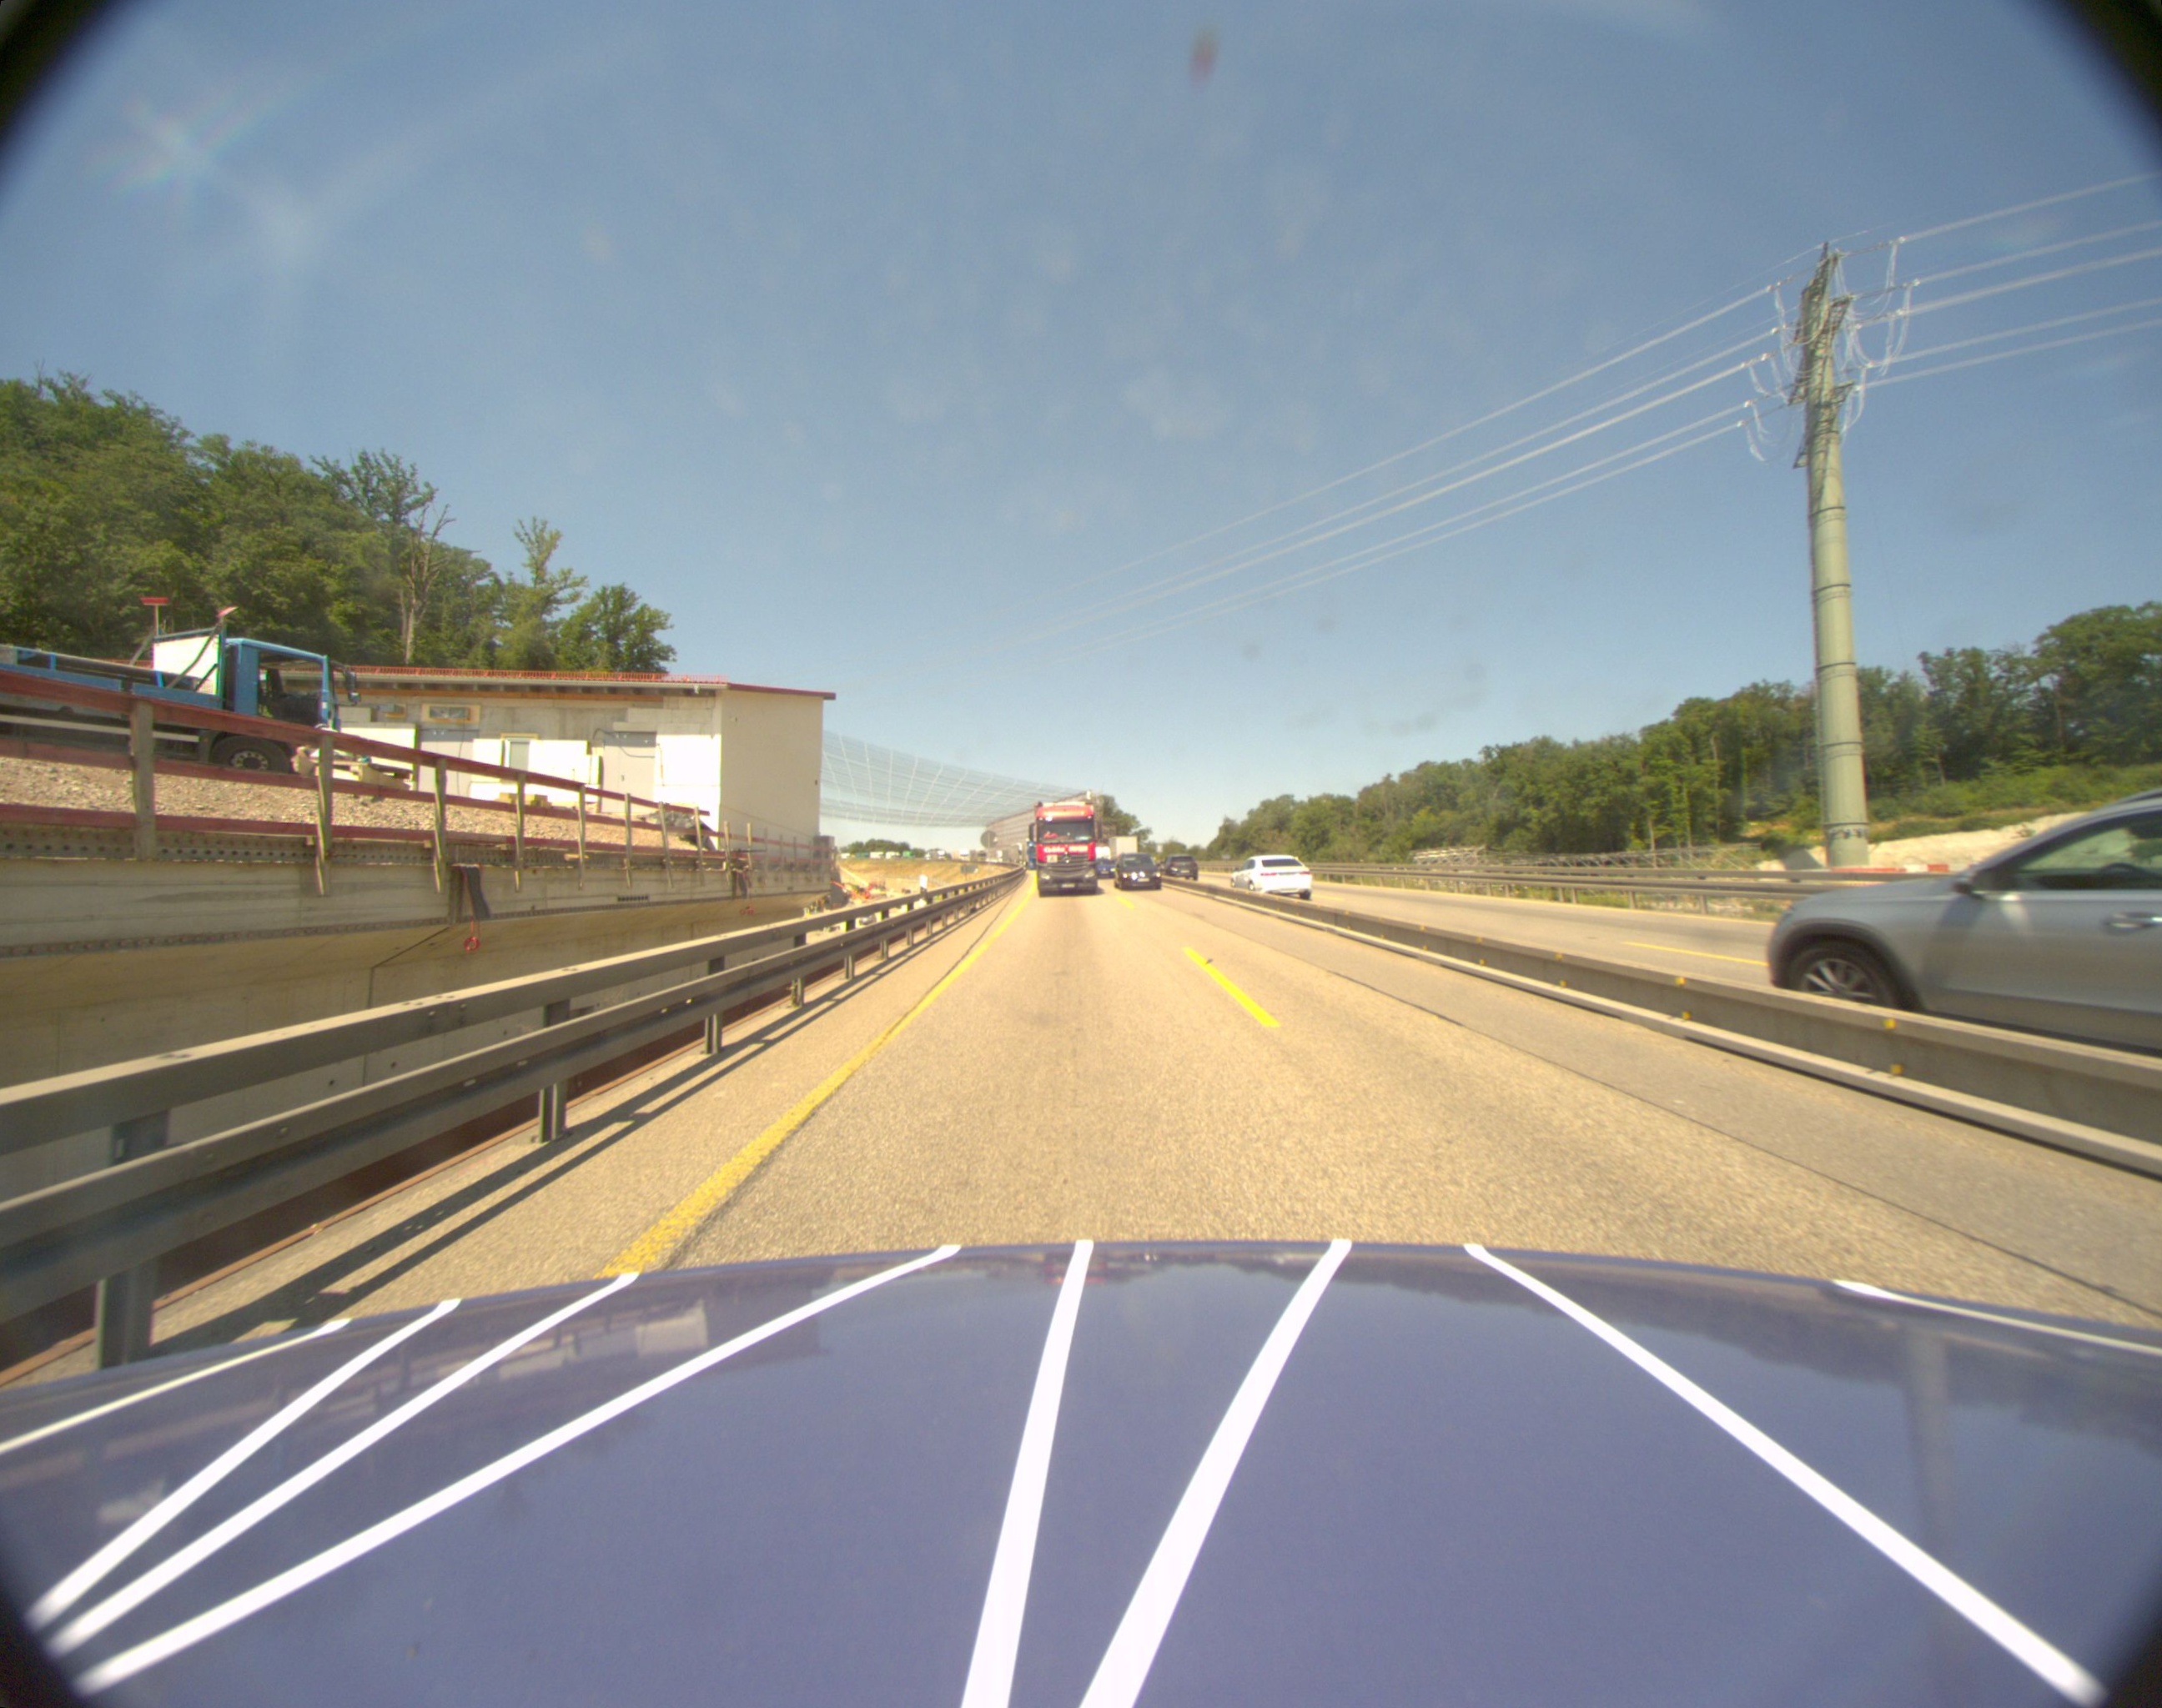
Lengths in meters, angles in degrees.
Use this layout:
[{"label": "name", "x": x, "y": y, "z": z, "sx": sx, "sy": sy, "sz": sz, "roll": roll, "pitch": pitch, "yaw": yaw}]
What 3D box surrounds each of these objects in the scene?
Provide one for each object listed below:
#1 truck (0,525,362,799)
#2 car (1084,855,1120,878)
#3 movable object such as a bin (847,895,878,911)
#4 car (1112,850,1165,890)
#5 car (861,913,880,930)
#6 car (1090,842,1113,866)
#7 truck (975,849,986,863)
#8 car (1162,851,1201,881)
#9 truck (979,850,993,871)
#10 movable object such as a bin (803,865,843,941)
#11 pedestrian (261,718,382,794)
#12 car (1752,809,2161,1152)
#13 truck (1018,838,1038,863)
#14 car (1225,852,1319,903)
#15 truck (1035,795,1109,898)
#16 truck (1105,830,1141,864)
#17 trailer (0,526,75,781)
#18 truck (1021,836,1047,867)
[{"label": "truck", "x": -17.282, "y": -3.163, "z": 13.650, "sx": 2.713, "sy": 3.671, "sz": 5.722, "roll": -2, "pitch": -2, "yaw": 23}, {"label": "car", "x": 1.446, "y": 0.884, "z": 54.138, "sx": 1.897, "sy": 1.546, "sz": 4.784, "roll": -2, "pitch": -1, "yaw": -5}, {"label": "movable object such as a bin", "x": -39.462, "y": 8.910, "z": 137.284, "sx": 5.485, "sy": 2.621, "sz": 2.224, "roll": -2, "pitch": 1, "yaw": 35}, {"label": "car", "x": 2.612, "y": 0.717, "z": 35.563, "sx": 1.861, "sy": 1.695, "sz": 5.303, "roll": -2, "pitch": -1, "yaw": -2}, {"label": "car", "x": -30.331, "y": 9.726, "z": 109.634, "sx": 2.000, "sy": 2.002, "sz": 3.996, "roll": -2, "pitch": 1, "yaw": -8}, {"label": "car", "x": 2.427, "y": -0.039, "z": 92.330, "sx": 1.975, "sy": 2.664, "sz": 6.657, "roll": -2, "pitch": 1, "yaw": -5}, {"label": "truck", "x": -29.912, "y": 0.656, "z": 226.001, "sx": 3.043, "sy": 4.033, "sz": 8.668, "roll": -2, "pitch": 1, "yaw": -8}, {"label": "car", "x": 5.954, "y": 0.685, "z": 45.511, "sx": 1.743, "sy": 1.632, "sz": 4.000, "roll": -2, "pitch": 0, "yaw": 0}, {"label": "truck", "x": -22.926, "y": 1.417, "z": 182.558, "sx": 3.043, "sy": 4.778, "sz": 8.934, "roll": -2, "pitch": 1, "yaw": -8}, {"label": "movable object such as a bin", "x": -26.773, "y": 4.924, "z": 79.141, "sx": 2.936, "sy": 7.311, "sz": 6.232, "roll": -3, "pitch": 1, "yaw": -12}, {"label": "pedestrian", "x": -13.031, "y": -1.668, "z": 13.079, "sx": 1.022, "sy": 1.144, "sz": 0.994, "roll": -2, "pitch": 1, "yaw": 5}, {"label": "car", "x": 6.280, "y": 0.591, "z": 3.659, "sx": 1.916, "sy": 1.695, "sz": 4.736, "roll": -2, "pitch": 0, "yaw": 1}, {"label": "truck", "x": -9.381, "y": -0.627, "z": 133.222, "sx": 2.911, "sy": 4.207, "sz": 9.234, "roll": -2, "pitch": 1, "yaw": -7}, {"label": "car", "x": 6.247, "y": 0.723, "z": 25.399, "sx": 1.917, "sy": 1.478, "sz": 4.477, "roll": -2, "pitch": 0, "yaw": -1}, {"label": "truck", "x": -0.583, "y": -0.369, "z": 35.223, "sx": 2.799, "sy": 3.986, "sz": 10.425, "roll": -2, "pitch": 1, "yaw": -3}, {"label": "truck", "x": 5.367, "y": -1.035, "z": 98.582, "sx": 2.809, "sy": 3.978, "sz": 10.542, "roll": -2, "pitch": 2, "yaw": -6}, {"label": "trailer", "x": -19.345, "y": -3.275, "z": 8.691, "sx": 2.713, "sy": 3.671, "sz": 9.013, "roll": -2, "pitch": -2, "yaw": 23}, {"label": "truck", "x": -6.617, "y": -0.382, "z": 105.548, "sx": 2.673, "sy": 3.986, "sz": 10.421, "roll": -2, "pitch": 1, "yaw": -7}]
